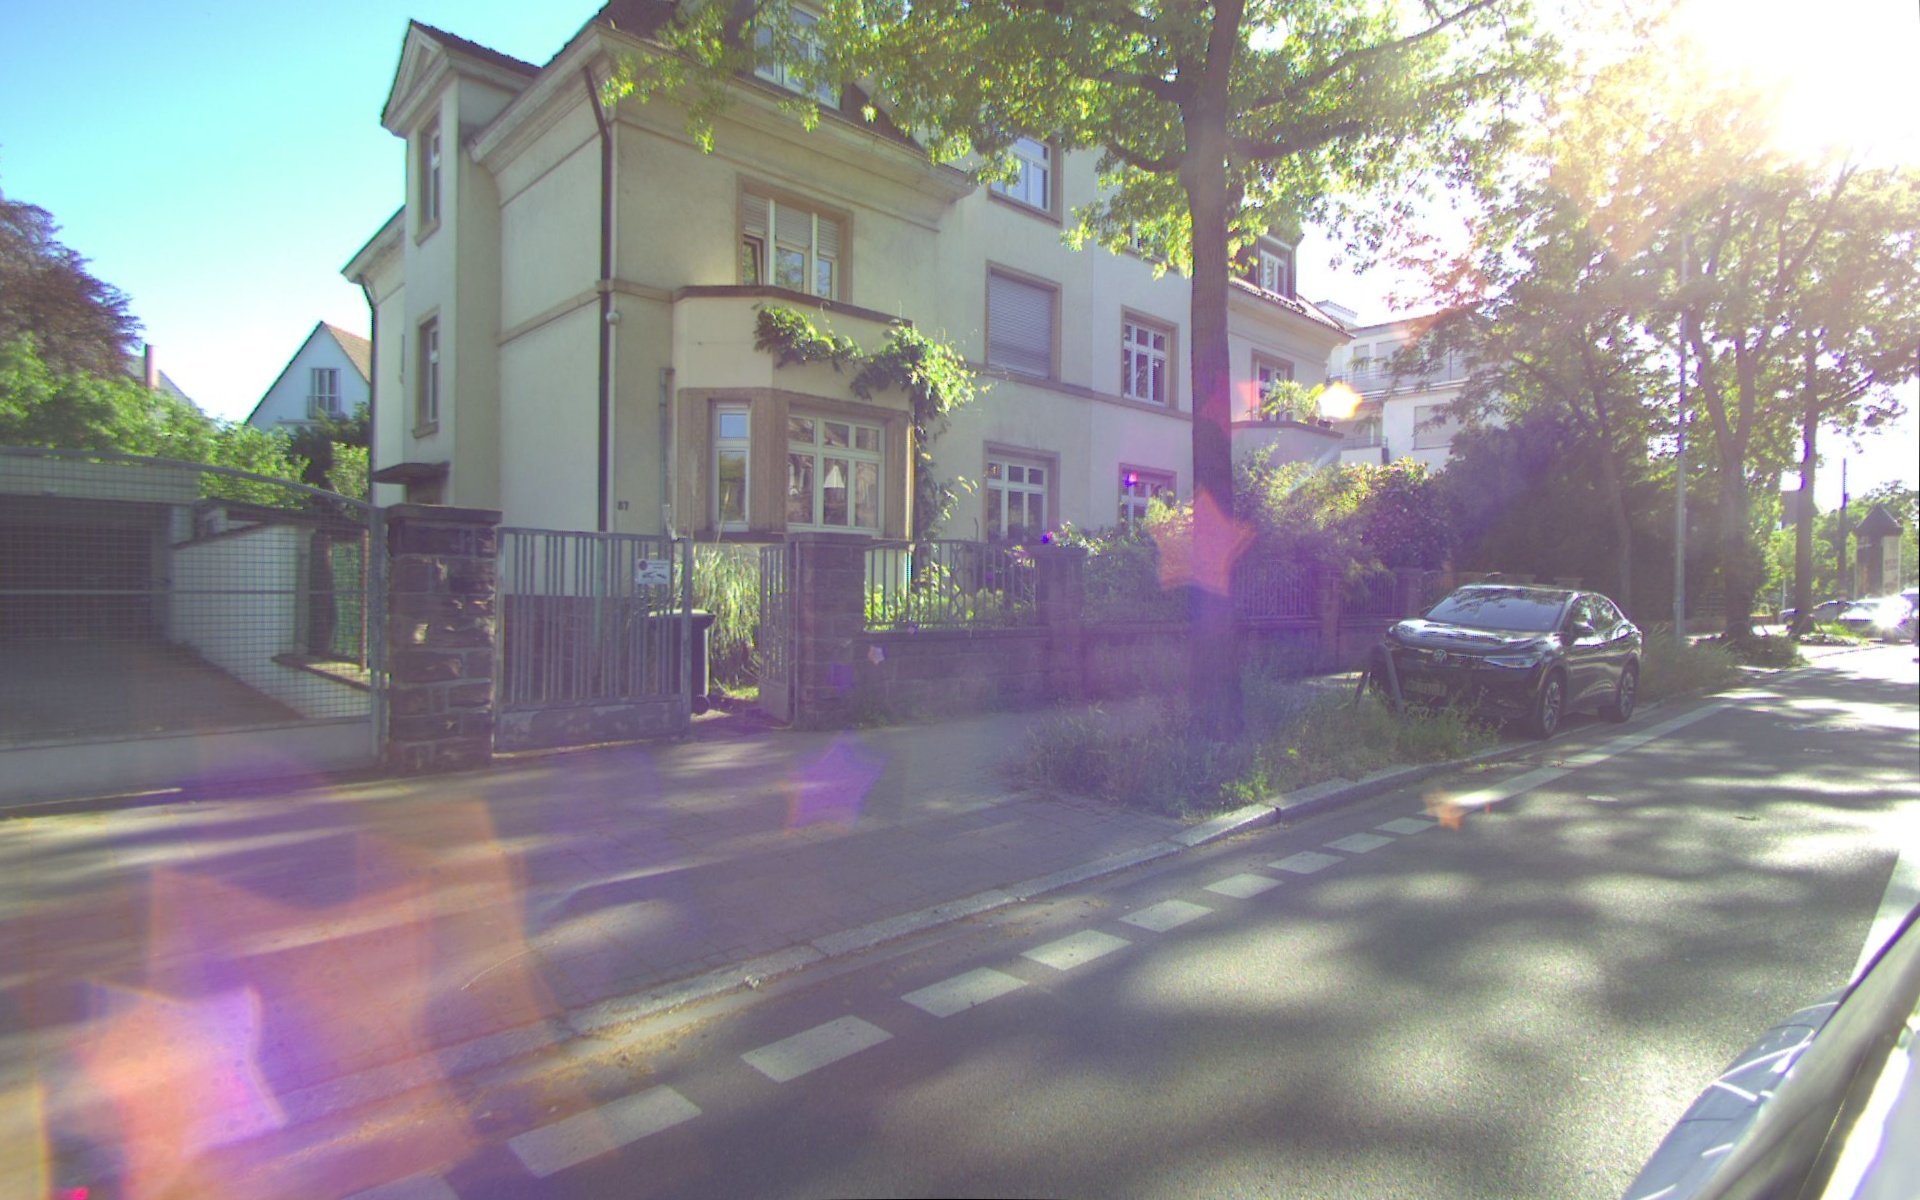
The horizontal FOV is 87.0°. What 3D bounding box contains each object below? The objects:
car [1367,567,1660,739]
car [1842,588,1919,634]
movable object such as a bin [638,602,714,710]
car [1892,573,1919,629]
[{"bbox_3d":[6.702,0.500,12.080,4.021,1.626,1.743,0,4,-42],"label":"car"},{"bbox_3d":[31.547,0.341,34.425,3.930,1.469,1.785,0,1,-41],"label":"car"},{"bbox_3d":[-3.063,0.565,10.851,0.697,1.070,1.093,0,0,-20],"label":"movable object such as a bin"},{"bbox_3d":[36.782,0.053,38.088,4.503,2.039,1.997,0,1,-41],"label":"car"}]
